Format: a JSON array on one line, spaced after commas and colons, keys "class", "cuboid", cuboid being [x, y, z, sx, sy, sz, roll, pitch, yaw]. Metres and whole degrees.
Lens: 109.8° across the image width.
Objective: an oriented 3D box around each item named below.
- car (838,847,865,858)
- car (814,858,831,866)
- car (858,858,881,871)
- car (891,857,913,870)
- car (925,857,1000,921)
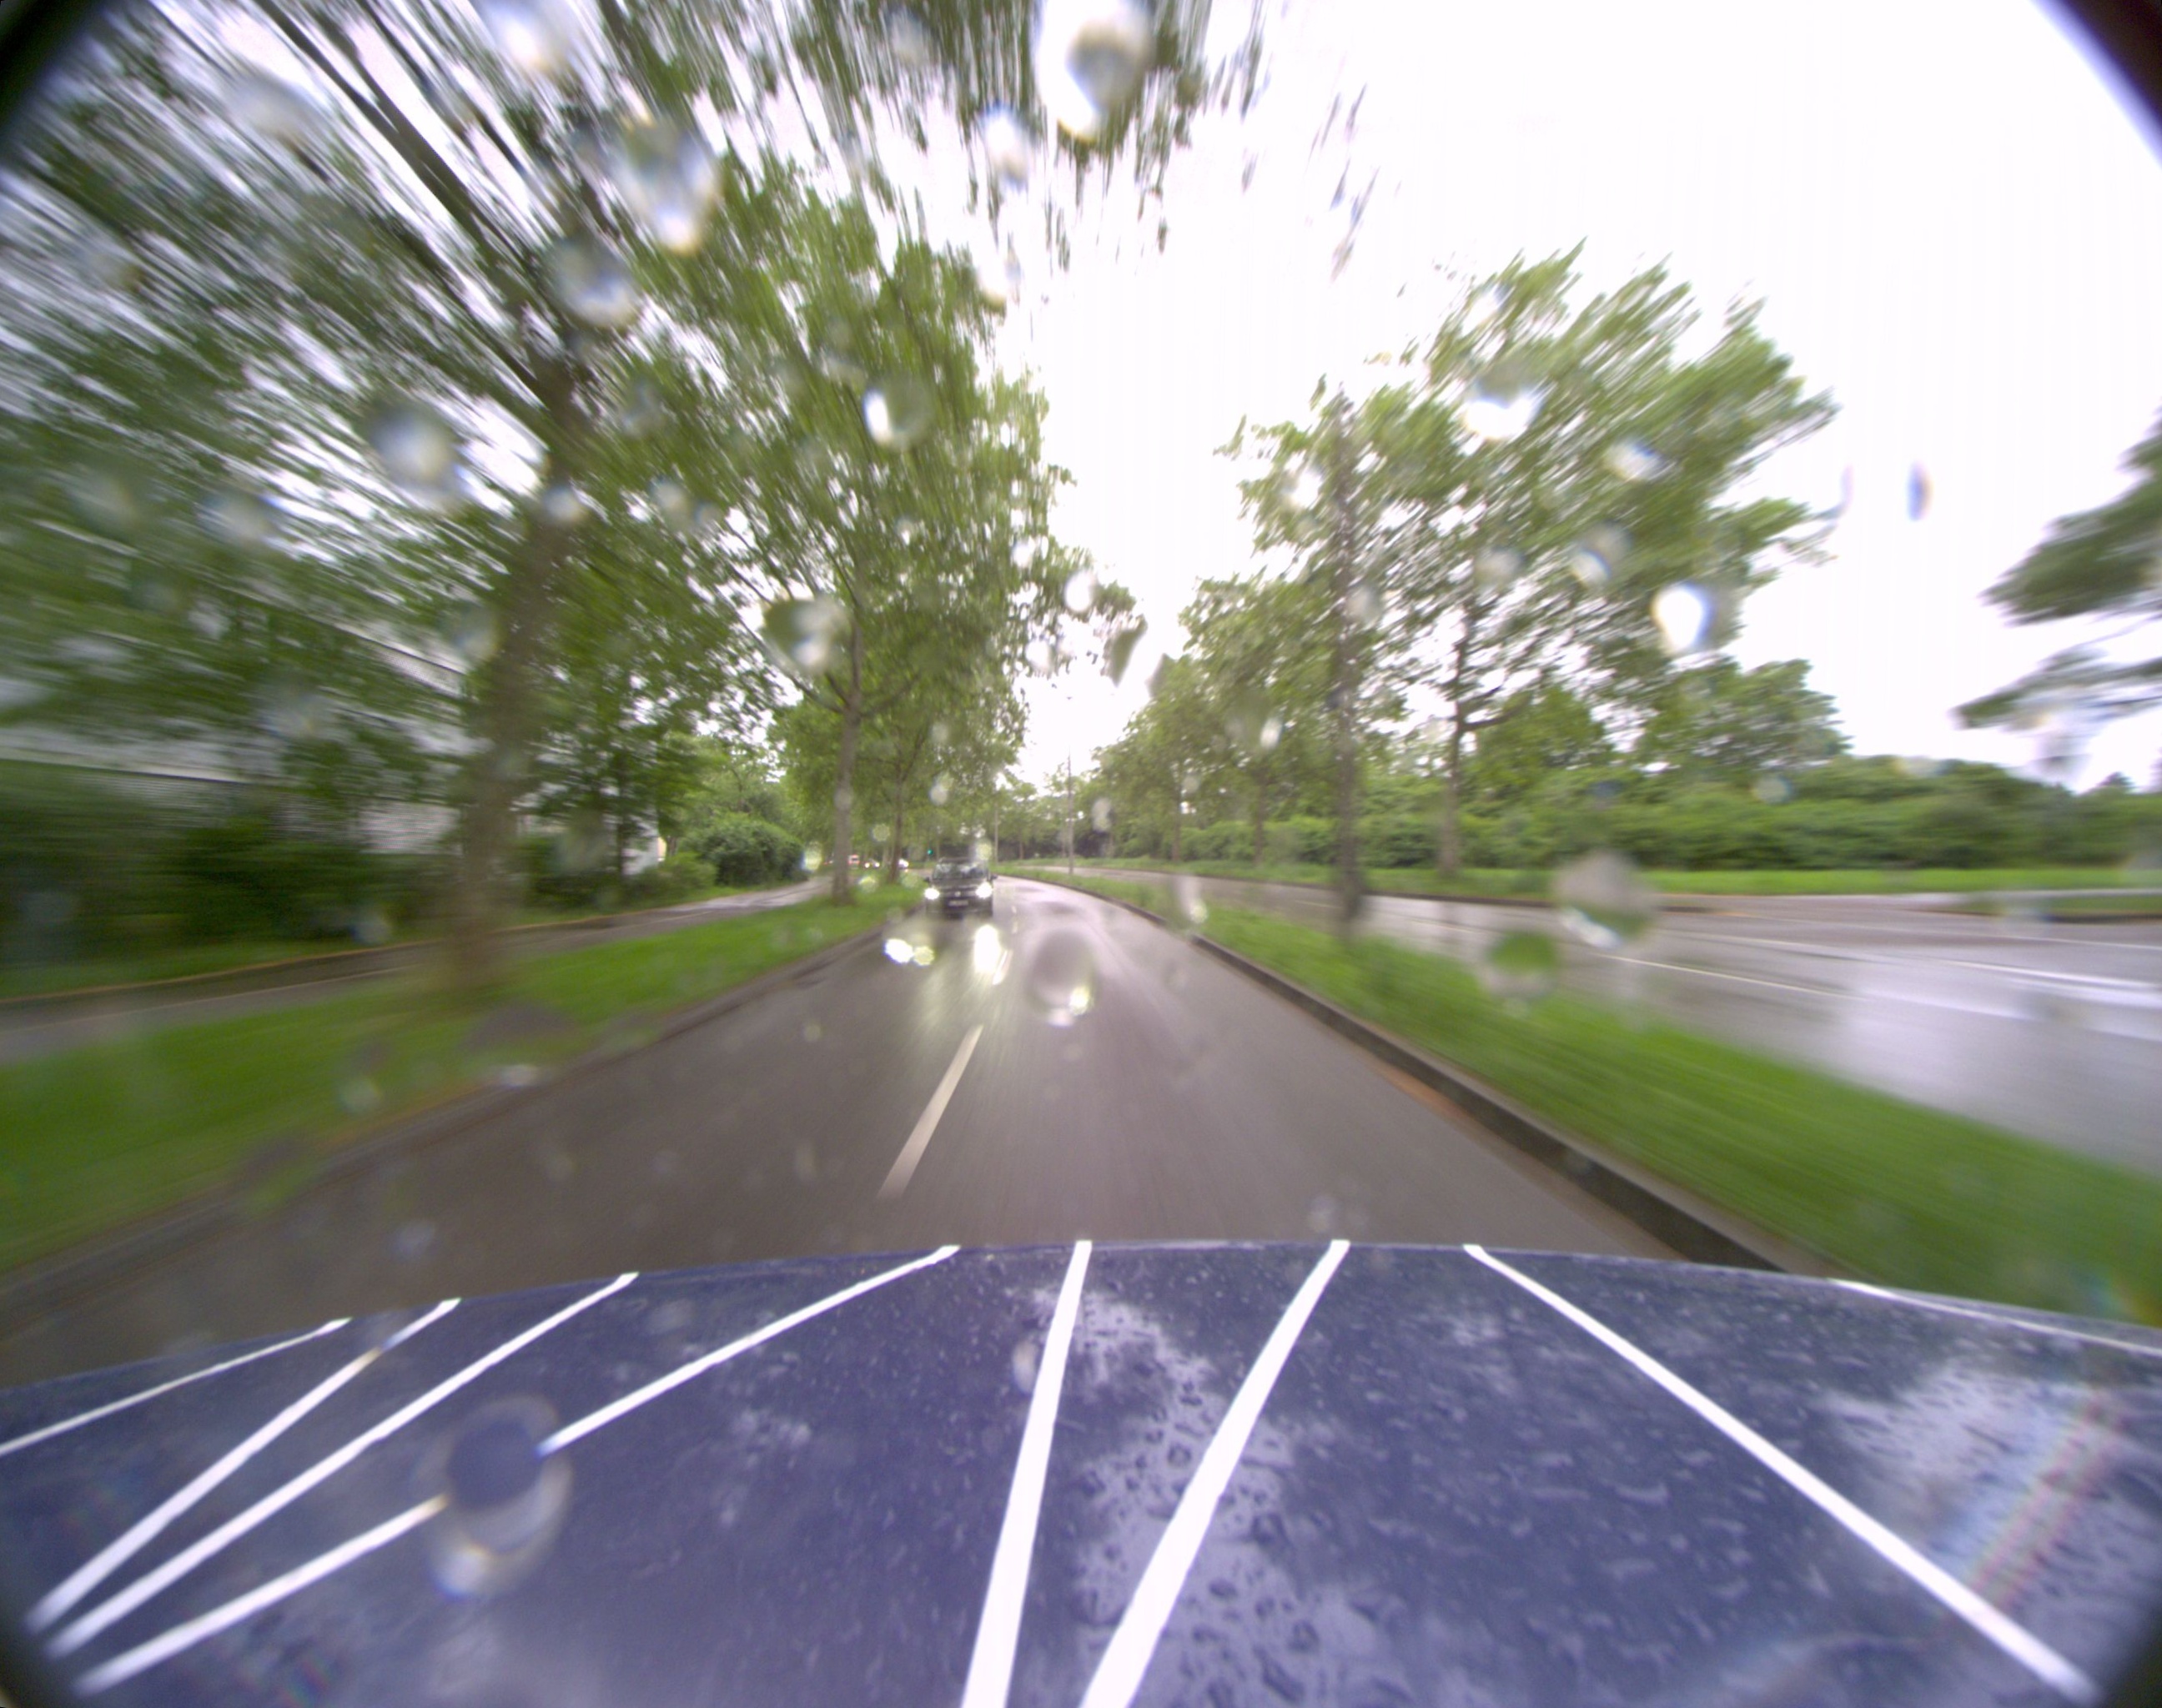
[{"class": "car", "cuboid": [-48.992, -0.305, 162.163, 6.341, 2.412, 2.290, -1, 0, 39]}, {"class": "car", "cuboid": [-62.303, 1.983, 182.938, 1.944, 1.929, 5.183, -1, 0, -42]}, {"class": "car", "cuboid": [-26.339, 1.330, 94.510, 1.788, 1.546, 3.991, -1, 0, -28]}, {"class": "car", "cuboid": [-22.385, 1.226, 94.926, 1.787, 1.546, 3.992, -1, 0, -26]}, {"class": "car", "cuboid": [-3.286, 0.920, 21.793, 1.785, 1.546, 3.998, -4, 0, -5]}]
